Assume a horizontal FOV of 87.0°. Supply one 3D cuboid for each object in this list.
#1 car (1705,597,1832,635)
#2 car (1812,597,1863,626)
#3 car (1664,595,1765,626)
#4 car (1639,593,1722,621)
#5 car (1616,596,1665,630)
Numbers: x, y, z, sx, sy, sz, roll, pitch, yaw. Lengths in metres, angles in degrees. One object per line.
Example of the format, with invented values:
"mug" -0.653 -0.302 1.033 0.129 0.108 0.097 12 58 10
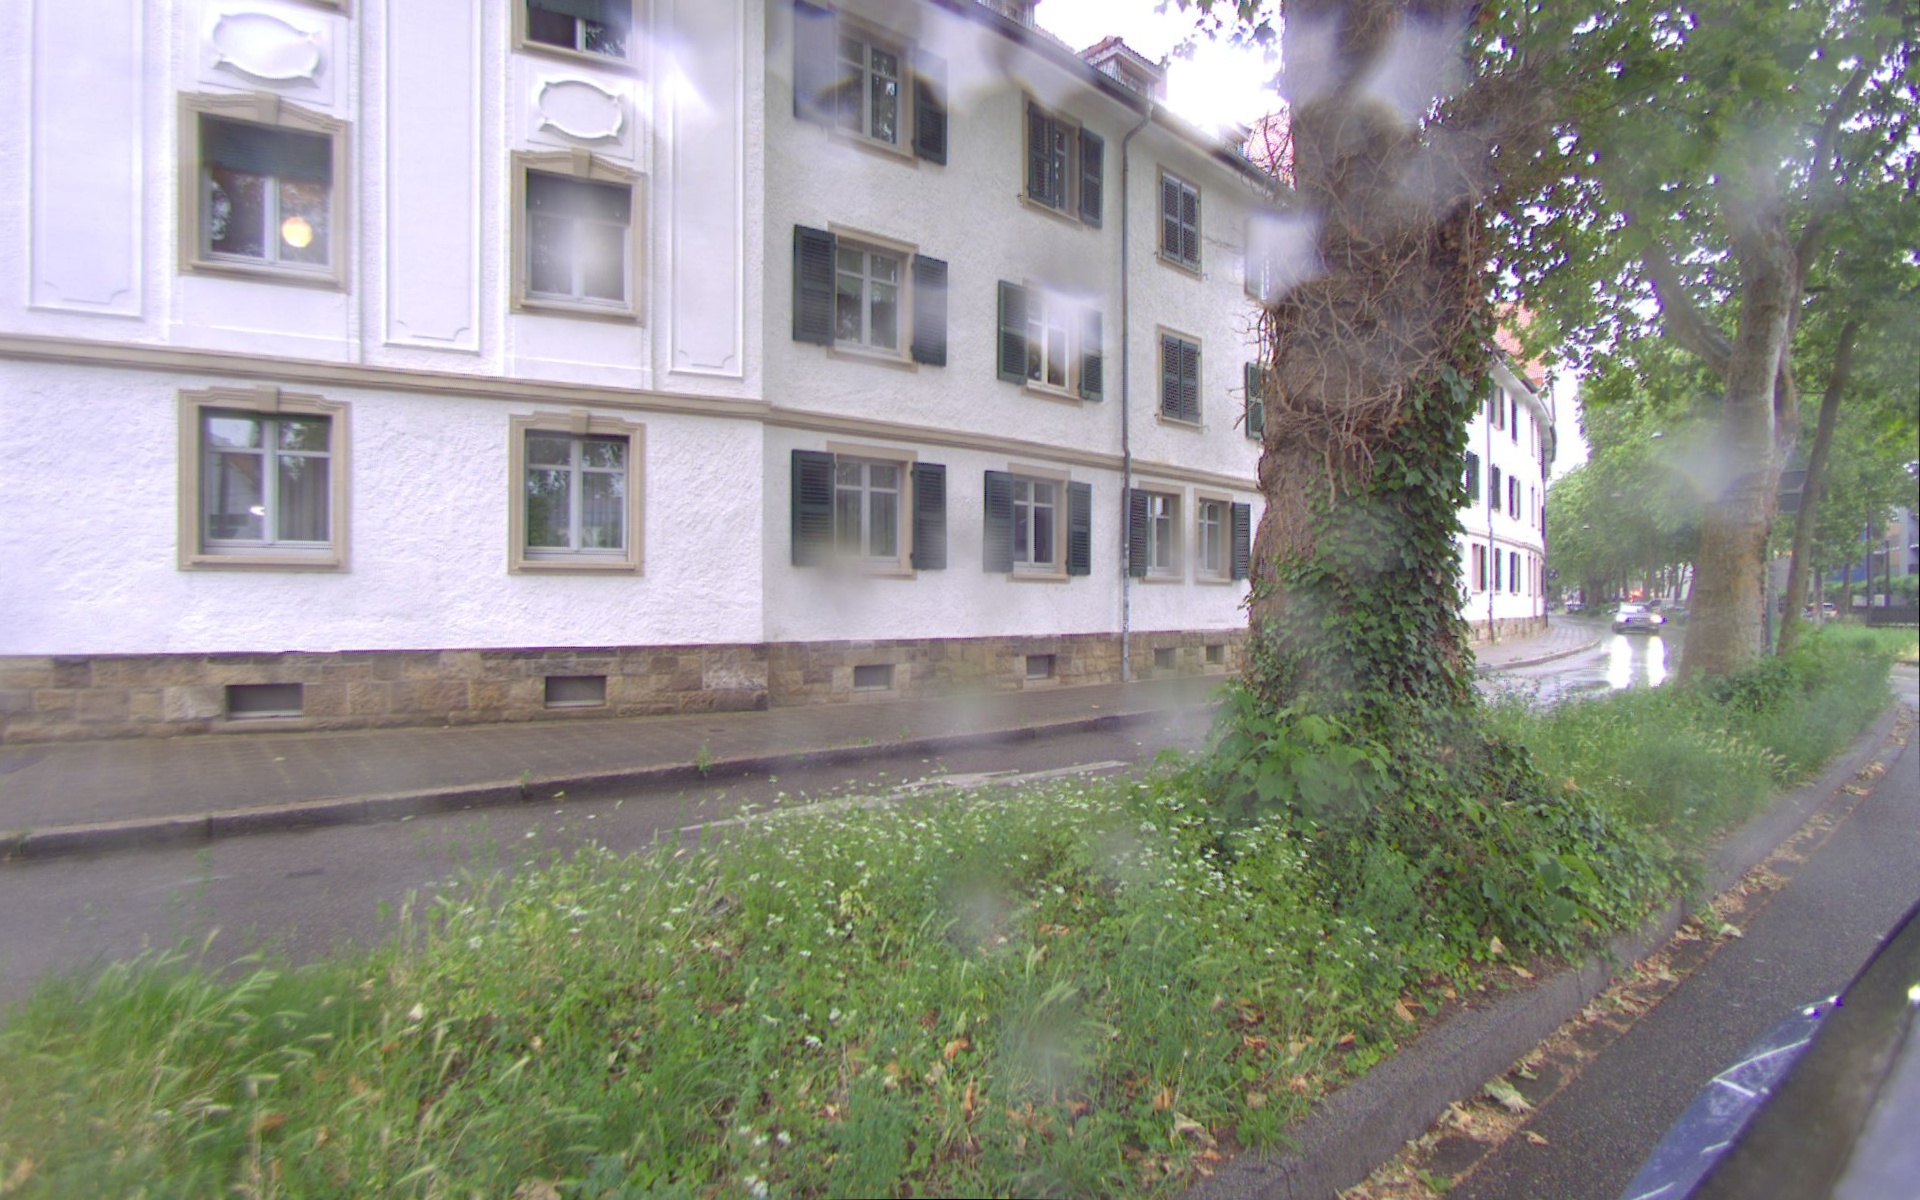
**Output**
"car" 37.760 0.702 47.378 1.892 1.560 4.236 1 1 -30
"car" 57.680 0.734 66.564 1.677 1.745 3.656 2 1 28
"car" 43.318 0.590 58.199 1.715 1.632 4.335 1 1 -35
"car" 56.582 0.545 79.581 1.960 2.039 4.899 1 1 -30
"car" 35.063 0.636 52.213 1.837 1.616 4.170 1 0 31
